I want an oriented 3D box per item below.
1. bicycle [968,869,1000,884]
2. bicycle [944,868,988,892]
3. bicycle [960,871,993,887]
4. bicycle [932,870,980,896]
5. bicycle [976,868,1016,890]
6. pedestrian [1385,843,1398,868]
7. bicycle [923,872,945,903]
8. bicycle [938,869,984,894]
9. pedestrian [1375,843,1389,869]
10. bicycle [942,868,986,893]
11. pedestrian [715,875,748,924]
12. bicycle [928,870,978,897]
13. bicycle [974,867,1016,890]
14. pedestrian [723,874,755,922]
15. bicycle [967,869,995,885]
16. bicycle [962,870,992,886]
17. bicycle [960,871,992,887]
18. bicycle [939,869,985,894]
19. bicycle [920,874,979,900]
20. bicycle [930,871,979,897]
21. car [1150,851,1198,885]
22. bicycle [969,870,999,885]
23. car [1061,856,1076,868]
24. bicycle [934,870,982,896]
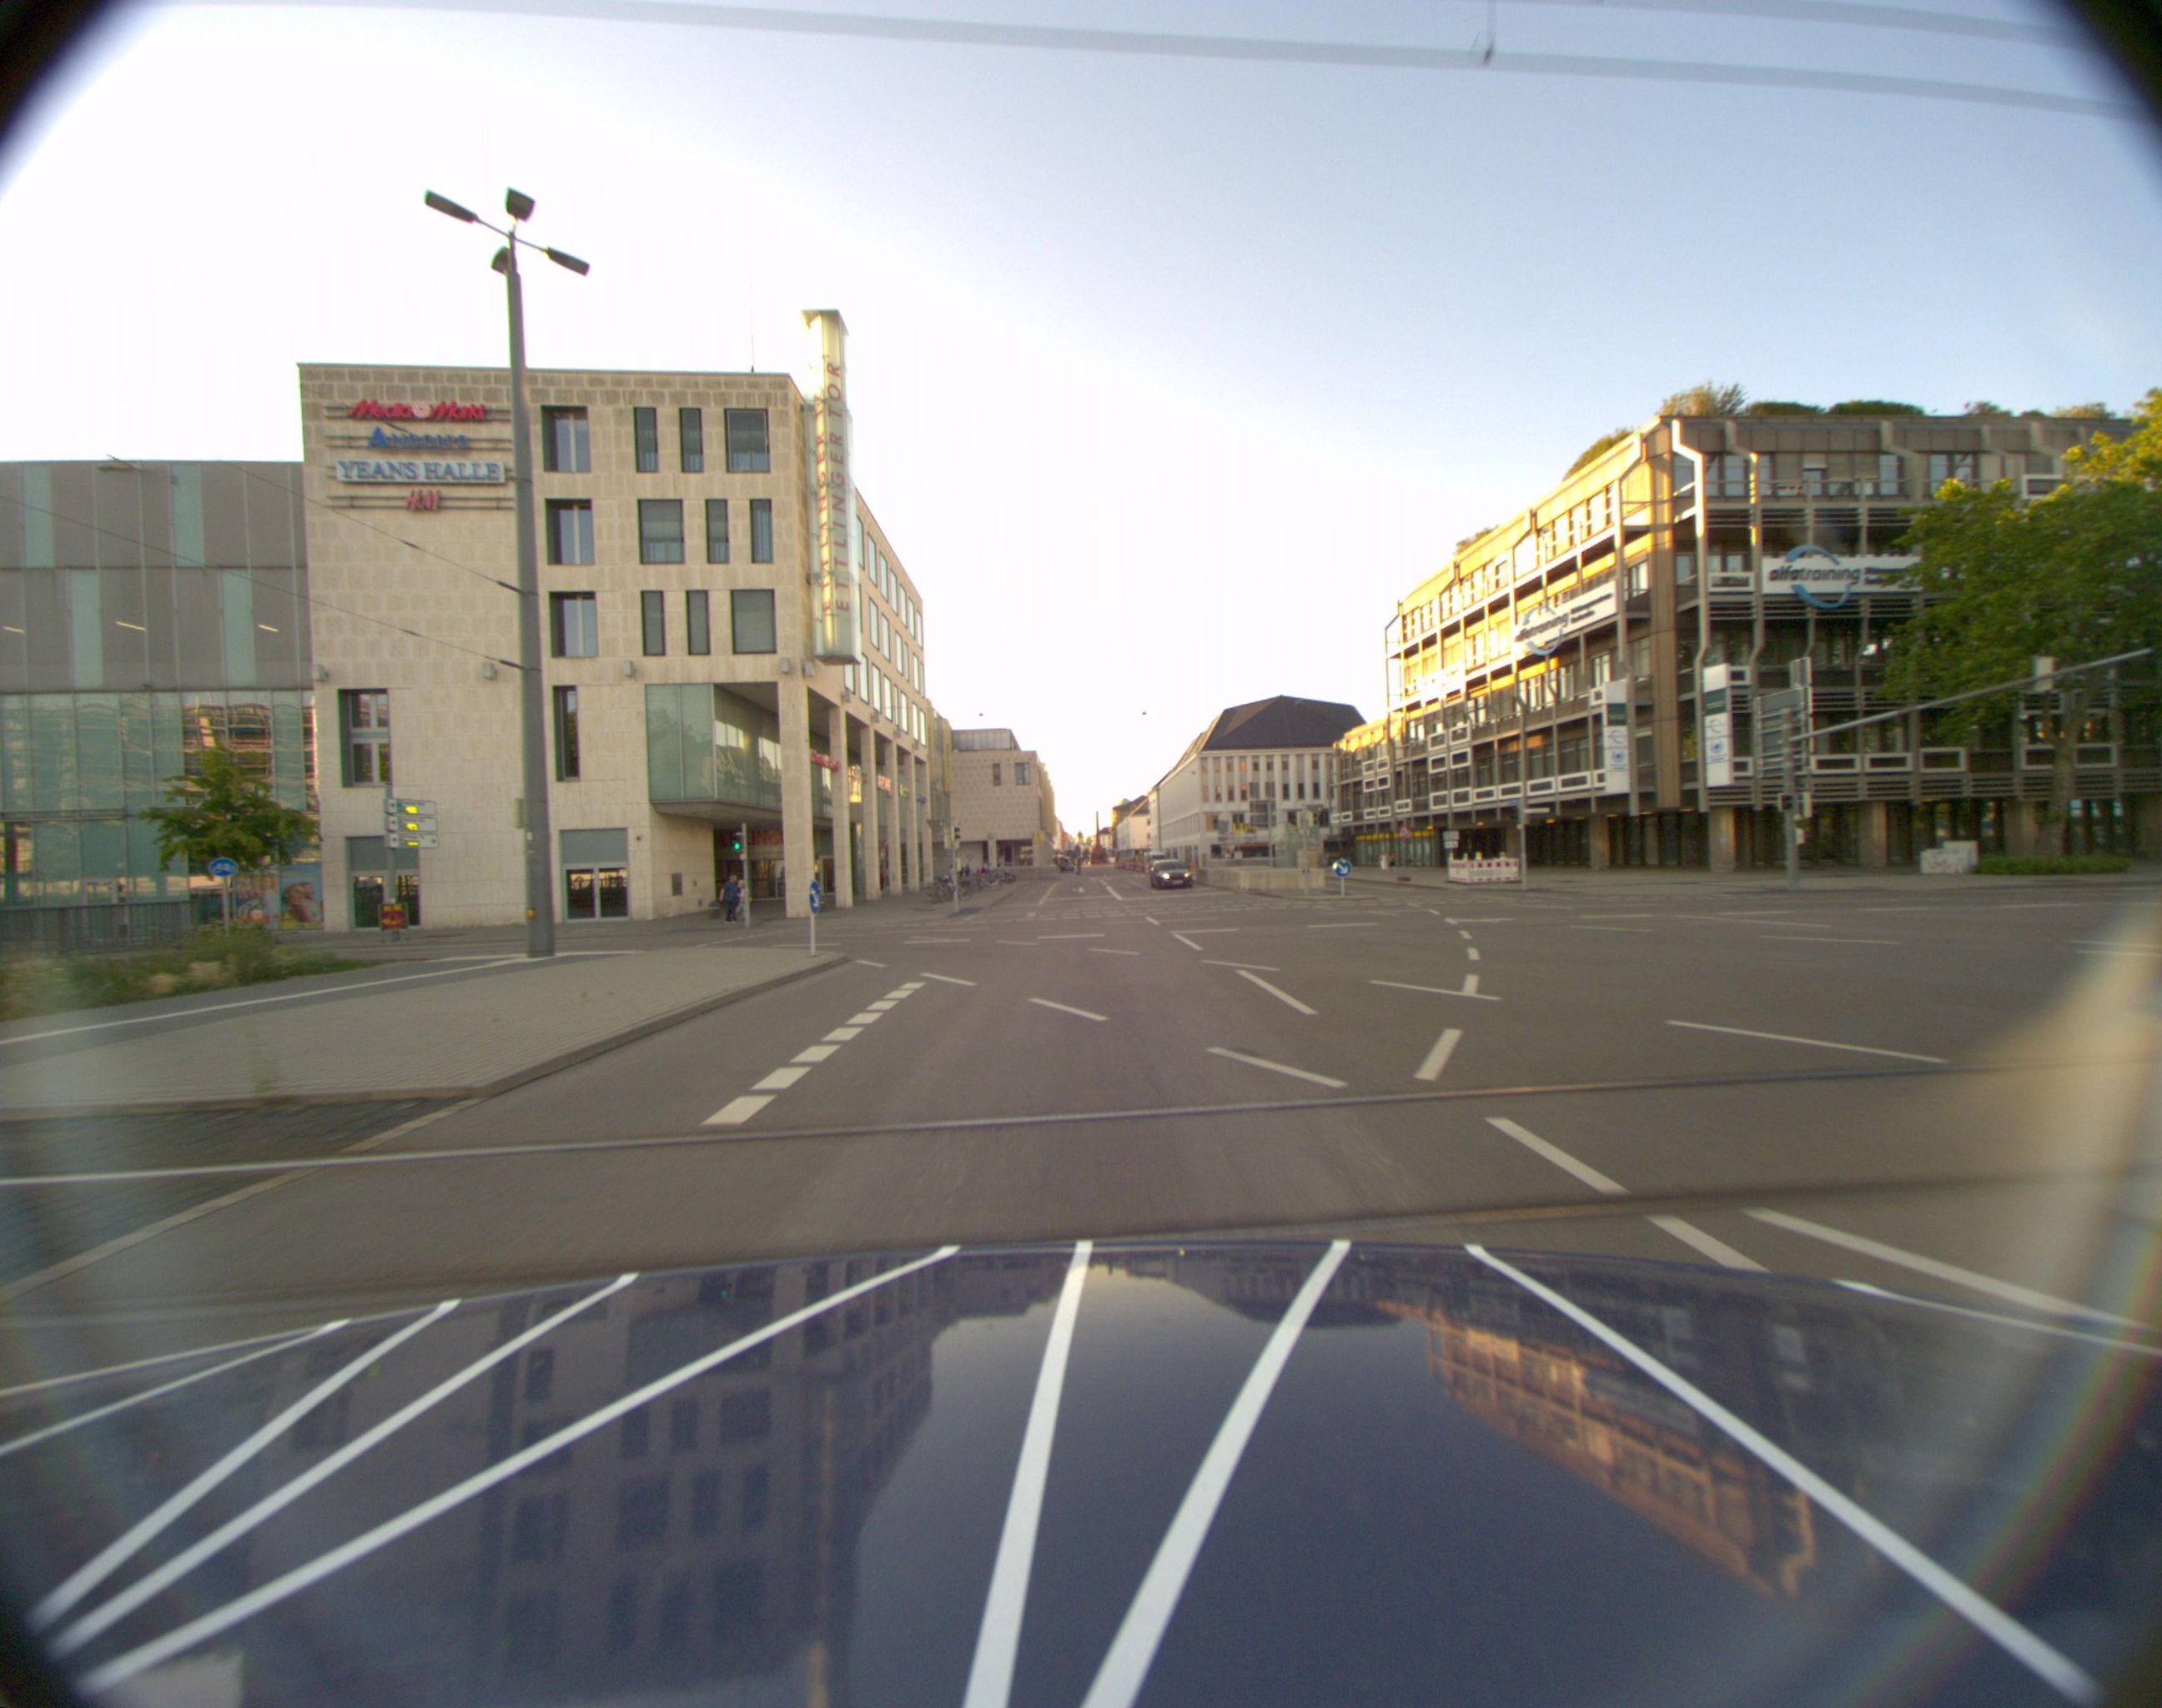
[{"bbox_3d":[-7.247,1.680,56.863,2.351,1.035,0.509,-2,1,-3],"label":"bicycle"},{"bbox_3d":[-6.992,1.569,46.163,2.508,1.316,0.619,-2,2,-1],"label":"bicycle"},{"bbox_3d":[-7.362,1.723,53.428,2.211,1.035,0.509,-2,1,-3],"label":"bicycle"},{"bbox_3d":[-6.903,1.618,41.903,2.508,1.316,0.619,-2,2,-1],"label":"bicycle"},{"bbox_3d":[-5.516,1.617,49.400,2.508,1.316,0.619,-2,2,-1],"label":"bicycle"},{"bbox_3d":[21.277,0.116,52.062,0.651,1.703,0.650,-2,1,2],"label":"pedestrian"},{"bbox_3d":[-7.027,1.585,36.395,0.619,1.316,2.509,-2,0,-2],"label":"bicycle"},{"bbox_3d":[-6.899,1.596,43.654,2.508,1.316,0.619,-2,2,-1],"label":"bicycle"},{"bbox_3d":[20.633,0.139,52.089,0.646,1.703,0.682,-2,1,2],"label":"pedestrian"},{"bbox_3d":[-6.958,1.579,45.374,2.508,1.316,0.619,-2,2,-1],"label":"bicycle"},{"bbox_3d":[-12.541,1.613,27.304,0.764,1.696,0.834,-2,1,-2],"label":"pedestrian"},{"bbox_3d":[-6.755,1.564,40.216,2.508,1.316,0.619,-2,2,-1],"label":"bicycle"},{"bbox_3d":[-5.471,1.556,48.376,2.508,1.316,0.619,-2,2,-1],"label":"bicycle"},{"bbox_3d":[-12.681,1.609,28.179,0.764,1.696,0.834,-2,1,-2],"label":"pedestrian"},{"bbox_3d":[-7.333,1.696,55.853,1.977,1.035,0.509,-2,1,-3],"label":"bicycle"},{"bbox_3d":[-7.349,1.718,53.898,2.024,1.035,0.509,-2,1,-3],"label":"bicycle"},{"bbox_3d":[-7.287,1.726,52.898,2.117,1.035,0.509,-2,1,-3],"label":"bicycle"},{"bbox_3d":[-6.950,1.590,44.460,2.508,1.316,0.619,-2,2,-1],"label":"bicycle"},{"bbox_3d":[-6.654,1.654,38.581,2.804,1.209,0.765,-2,1,9],"label":"bicycle"},{"bbox_3d":[-6.860,1.622,41.211,2.508,1.316,0.619,-2,2,-1],"label":"bicycle"},{"bbox_3d":[4.875,0.680,40.274,2.071,1.641,4.000,-2,0,1],"label":"car"},{"bbox_3d":[-7.061,1.692,55.210,2.071,1.035,0.509,-2,1,-3],"label":"bicycle"},{"bbox_3d":[-1.756,1.149,108.563,2.071,1.641,4.000,-2,1,1],"label":"car"},{"bbox_3d":[-6.888,1.610,42.599,2.508,1.316,0.619,-2,2,-1],"label":"bicycle"}]
